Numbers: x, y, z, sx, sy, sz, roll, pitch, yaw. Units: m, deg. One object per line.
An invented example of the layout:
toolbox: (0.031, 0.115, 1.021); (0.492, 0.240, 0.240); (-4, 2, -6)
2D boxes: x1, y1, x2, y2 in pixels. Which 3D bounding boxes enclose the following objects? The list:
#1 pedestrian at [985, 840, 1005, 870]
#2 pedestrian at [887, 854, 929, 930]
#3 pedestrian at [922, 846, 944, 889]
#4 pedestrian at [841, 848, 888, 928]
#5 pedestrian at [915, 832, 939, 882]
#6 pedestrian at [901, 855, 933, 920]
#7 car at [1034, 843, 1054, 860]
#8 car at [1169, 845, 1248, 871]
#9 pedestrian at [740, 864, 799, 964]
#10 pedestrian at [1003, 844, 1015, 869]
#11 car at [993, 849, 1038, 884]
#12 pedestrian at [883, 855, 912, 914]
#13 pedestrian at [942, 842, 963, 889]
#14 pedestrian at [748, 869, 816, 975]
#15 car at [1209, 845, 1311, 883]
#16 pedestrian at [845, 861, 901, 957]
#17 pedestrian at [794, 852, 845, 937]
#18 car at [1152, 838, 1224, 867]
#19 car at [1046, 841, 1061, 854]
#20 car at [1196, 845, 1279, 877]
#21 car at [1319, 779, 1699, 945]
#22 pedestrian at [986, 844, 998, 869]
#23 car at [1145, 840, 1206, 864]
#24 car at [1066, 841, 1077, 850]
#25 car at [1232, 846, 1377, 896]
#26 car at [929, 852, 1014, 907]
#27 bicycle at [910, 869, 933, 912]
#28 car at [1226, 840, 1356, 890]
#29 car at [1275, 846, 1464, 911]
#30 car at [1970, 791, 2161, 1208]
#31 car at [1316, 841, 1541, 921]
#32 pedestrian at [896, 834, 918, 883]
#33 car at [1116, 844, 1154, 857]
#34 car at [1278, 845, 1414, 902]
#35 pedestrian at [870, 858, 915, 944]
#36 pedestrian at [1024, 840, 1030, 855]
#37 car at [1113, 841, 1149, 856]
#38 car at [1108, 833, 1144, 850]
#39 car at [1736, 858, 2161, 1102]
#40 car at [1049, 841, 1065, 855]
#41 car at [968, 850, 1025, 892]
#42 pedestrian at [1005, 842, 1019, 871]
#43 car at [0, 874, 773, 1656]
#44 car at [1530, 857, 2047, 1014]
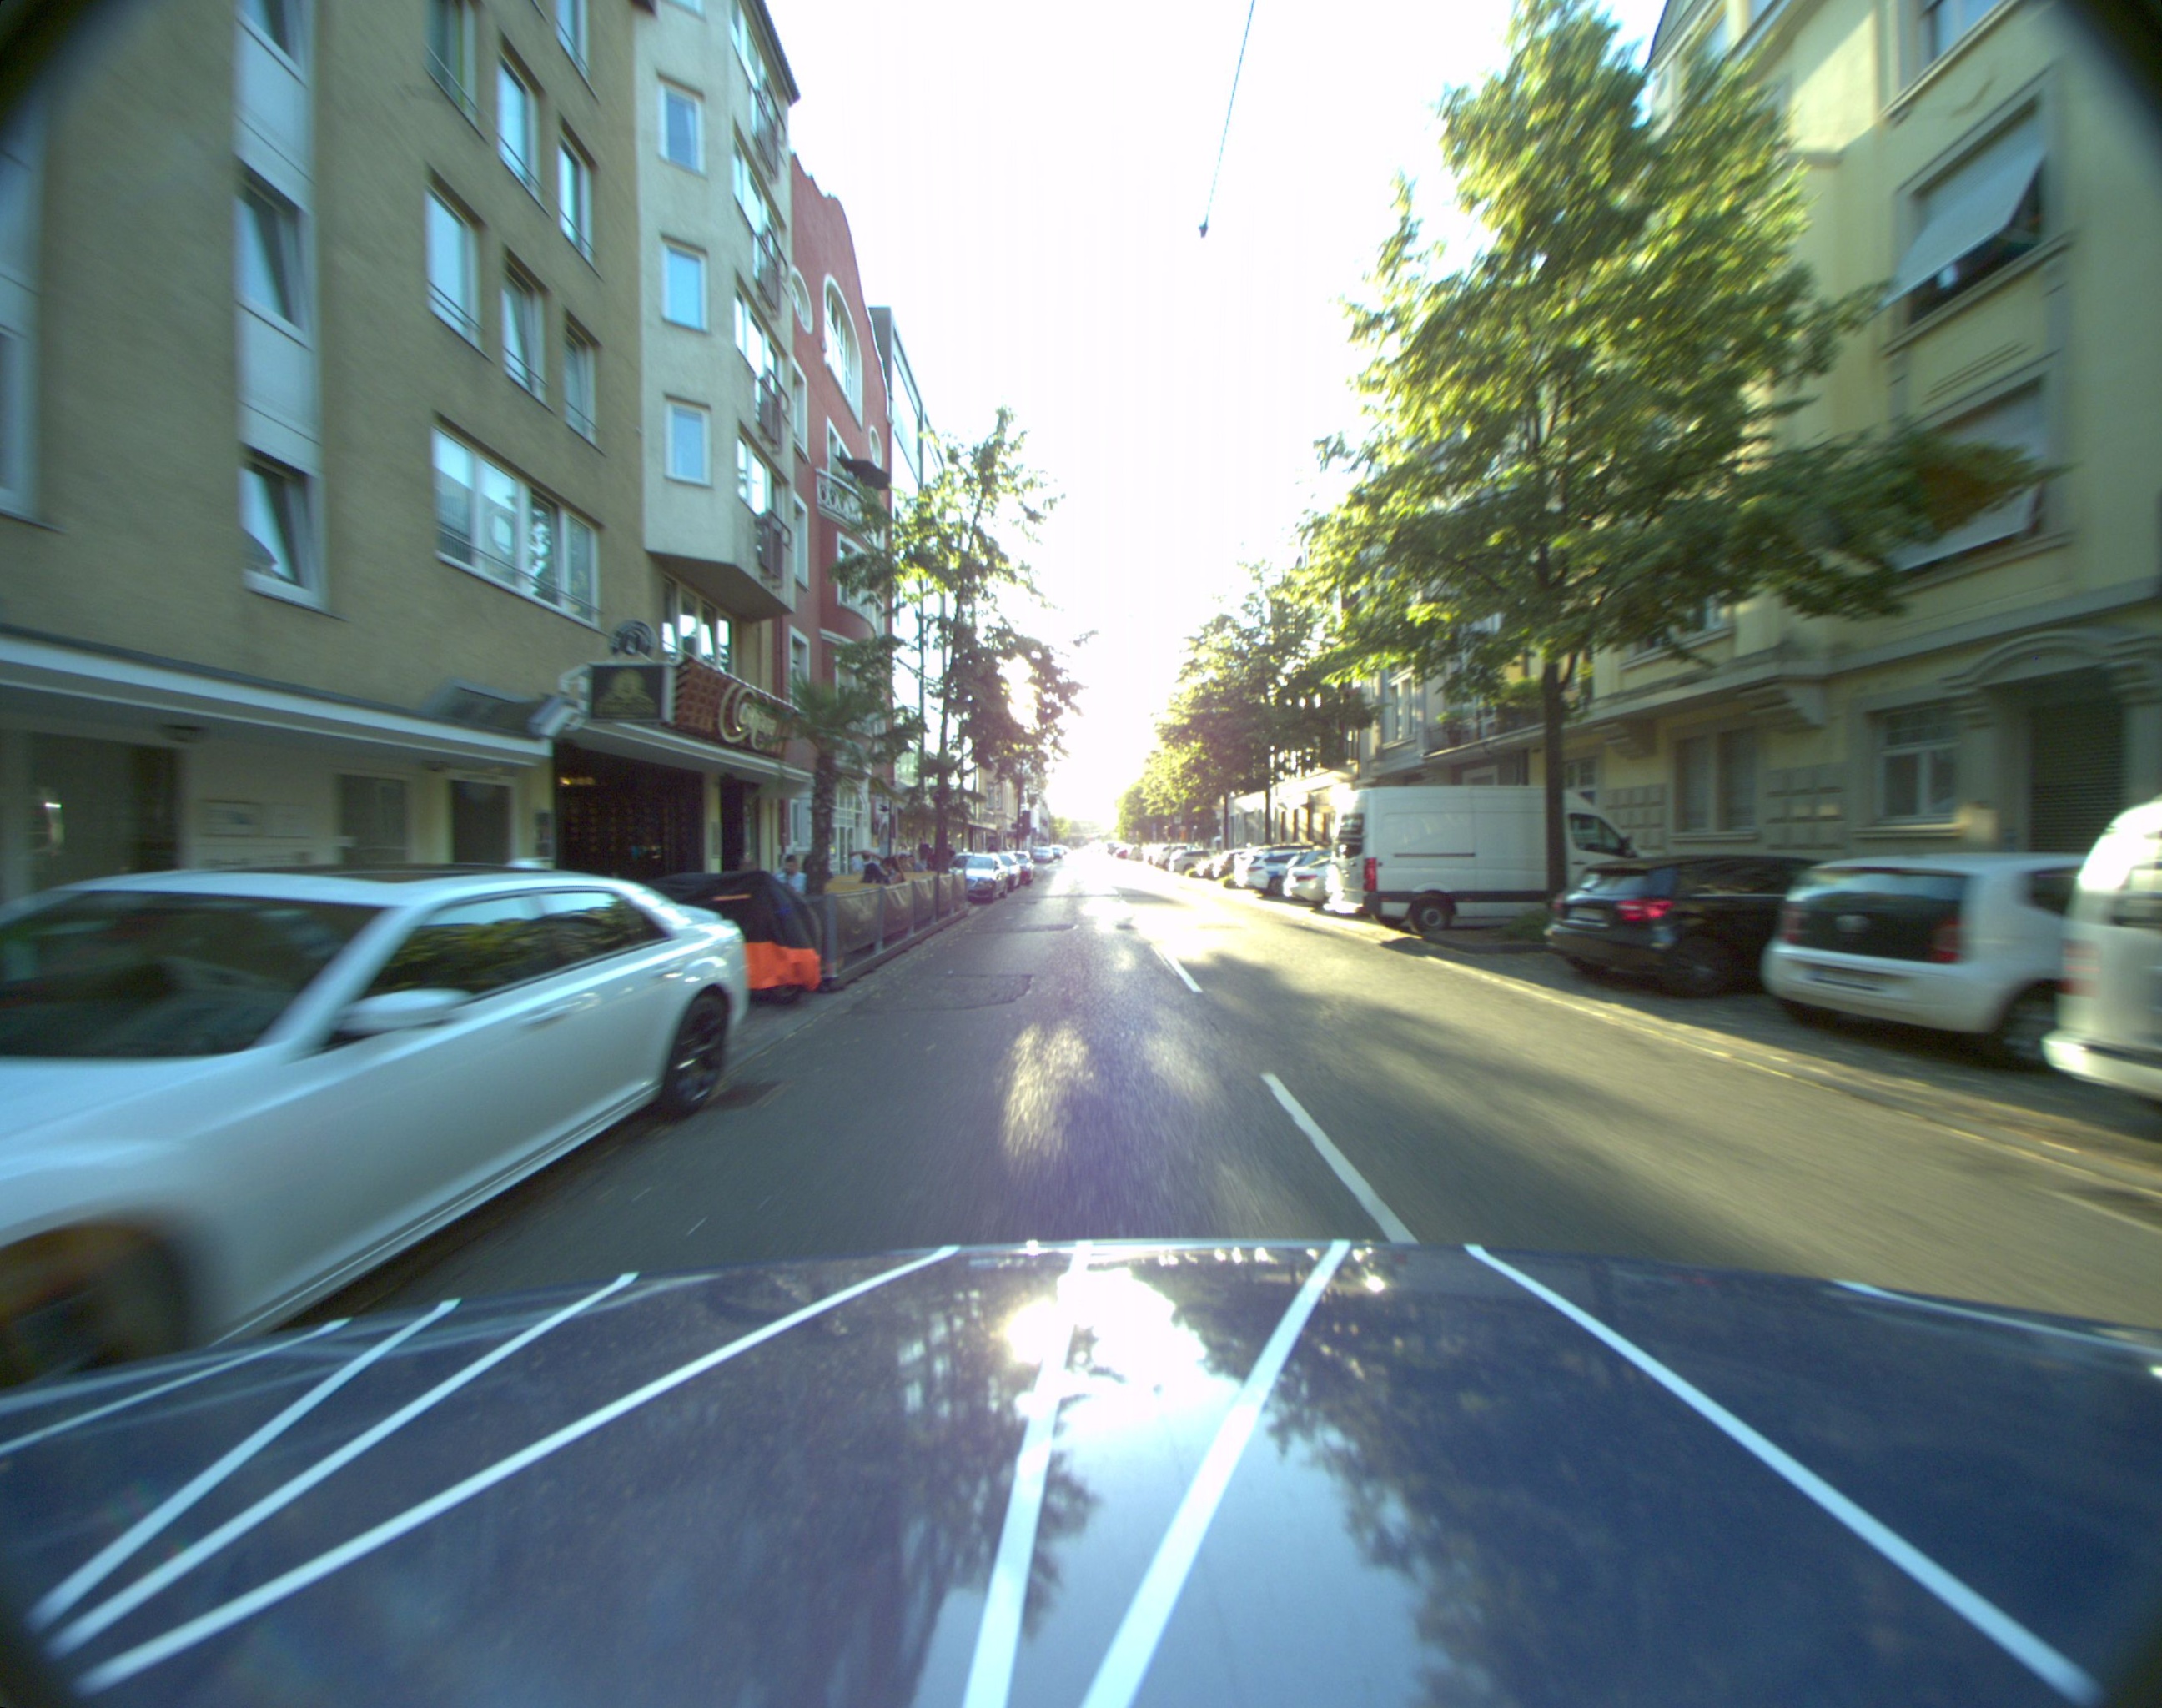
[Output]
pedestrian: (-5.329, 0.068, 47.045); (1.049, 1.775, 0.945); (3, 1, 0)
pedestrian: (-3.521, 0.756, 15.527); (0.633, 1.476, 0.795); (1, 1, 0)
pedestrian: (-5.298, 0.477, 27.201); (0.626, 1.480, 0.640); (1, 1, 1)
pedestrian: (-4.419, 0.673, 15.544); (0.709, 1.589, 0.795); (1, 1, 0)
pedestrian: (-5.819, 0.097, 28.770); (0.627, 1.857, 0.976); (2, 1, 0)
pedestrian: (-3.758, 0.750, 17.454); (0.579, 1.454, 0.603); (1, 1, 0)
car: (-3.819, -0.290, 78.762); (1.759, 1.639, 3.793); (3, 1, 0)
car: (7.568, 0.220, 45.295); (4.393, 1.415, 1.822); (-2, 1, 0)
pedestrian: (-4.466, 0.845, 10.932); (0.579, 1.377, 0.603); (1, 1, 0)
pedestrian: (-5.099, 0.184, 54.000); (0.756, 1.748, 0.812); (0, 1, 0)
car: (-3.071, 0.552, 36.245); (1.727, 1.484, 4.751); (2, 1, -1)
pedestrian: (-4.292, 0.705, 17.780); (0.549, 1.337, 0.438); (1, 1, 0)
pedestrian: (-4.642, 0.395, 27.438); (0.626, 1.668, 0.640); (1, 1, 1)
pedestrian: (-3.662, 0.815, 9.343); (0.579, 1.237, 0.603); (1, 1, 0)
car: (7.695, 0.421, 32.863); (3.926, 1.440, 1.696); (-3, 1, -2)
pedestrian: (-2.983, 0.773, 10.930); (0.579, 1.312, 0.704); (1, 1, 0)
pedestrian: (-4.369, 0.658, 12.726); (0.579, 1.377, 0.718); (1, 1, 0)
car: (7.466, -0.112, 53.215); (4.718, 1.801, 2.053); (-2, 1, 1)
car: (-3.703, -0.878, 101.379); (1.759, 1.639, 3.793); (3, 1, 0)
car: (7.764, 0.350, 38.057); (3.794, 1.440, 1.789); (-2, 1, 2)
car: (7.550, 0.126, 13.878); (5.673, 2.606, 2.171); (-2, 1, 0)
pedestrian: (-6.402, 0.182, 54.413); (0.756, 1.748, 0.812); (0, 1, 0)
car: (7.415, -0.163, 60.005); (4.567, 1.772, 1.946); (-1, 2, -1)
car: (-1.747, -1.553, 143.324); (1.804, 1.570, 4.402); (2, 1, 1)
car: (7.375, 0.538, 25.370); (4.197, 1.474, 1.970); (-2, 1, -1)
car: (-3.331, 0.718, 24.071); (1.779, 1.432, 5.000); (2, 1, 2)
bicycle: (-4.021, 0.895, 19.208); (0.386, 0.978, 1.710); (0, 1, -6)
car: (7.722, 0.391, 28.236); (4.242, 1.641, 1.892); (-2, 1, -4)
car: (7.448, 0.606, 19.891); (4.223, 1.497, 1.792); (-2, 1, 0)
car: (7.265, 0.643, 3.267); (4.510, 1.942, 1.919); (-1, 1, 2)
car: (7.784, 0.566, 17.354); (4.223, 1.591, 1.975); (-2, 1, 1)
pedestrian: (-6.573, 0.173, 28.668); (0.590, 1.799, 0.835); (2, 1, 0)
car: (6.610, -0.480, 93.342); (4.579, 1.548, 1.809); (-1, 1, -38)
car: (7.744, 0.539, 22.464); (3.415, 1.501, 1.846); (-2, 1, 3)
pedestrian: (-3.123, 0.770, 12.626); (0.579, 1.377, 0.603); (1, 1, 0)
pedestrian: (-6.027, -0.704, 85.173); (0.599, 1.653, 0.603); (1, 2, 6)
car: (6.578, -0.756, 100.093); (4.579, 1.922, 1.895); (-1, 1, -38)
car: (6.468, -1.787, 110.269); (4.782, 2.344, 2.152); (-1, 1, -28)
car: (7.486, 0.827, 5.905); (3.379, 1.458, 1.712); (-2, 1, -3)
car: (-3.413, -0.867, 109.625); (1.868, 1.900, 4.255); (3, 1, 3)
car: (-3.281, 0.625, 30.340); (1.779, 1.462, 4.417); (2, 1, -1)
pedestrian: (-4.273, 0.145, 47.070); (0.731, 1.775, 0.870); (4, 1, 0)
car: (-3.227, 0.945, 3.040); (1.846, 1.472, 5.189); (2, 1, 0)
car: (7.427, 0.805, 8.310); (3.997, 1.396, 1.749); (-1, 2, 1)
